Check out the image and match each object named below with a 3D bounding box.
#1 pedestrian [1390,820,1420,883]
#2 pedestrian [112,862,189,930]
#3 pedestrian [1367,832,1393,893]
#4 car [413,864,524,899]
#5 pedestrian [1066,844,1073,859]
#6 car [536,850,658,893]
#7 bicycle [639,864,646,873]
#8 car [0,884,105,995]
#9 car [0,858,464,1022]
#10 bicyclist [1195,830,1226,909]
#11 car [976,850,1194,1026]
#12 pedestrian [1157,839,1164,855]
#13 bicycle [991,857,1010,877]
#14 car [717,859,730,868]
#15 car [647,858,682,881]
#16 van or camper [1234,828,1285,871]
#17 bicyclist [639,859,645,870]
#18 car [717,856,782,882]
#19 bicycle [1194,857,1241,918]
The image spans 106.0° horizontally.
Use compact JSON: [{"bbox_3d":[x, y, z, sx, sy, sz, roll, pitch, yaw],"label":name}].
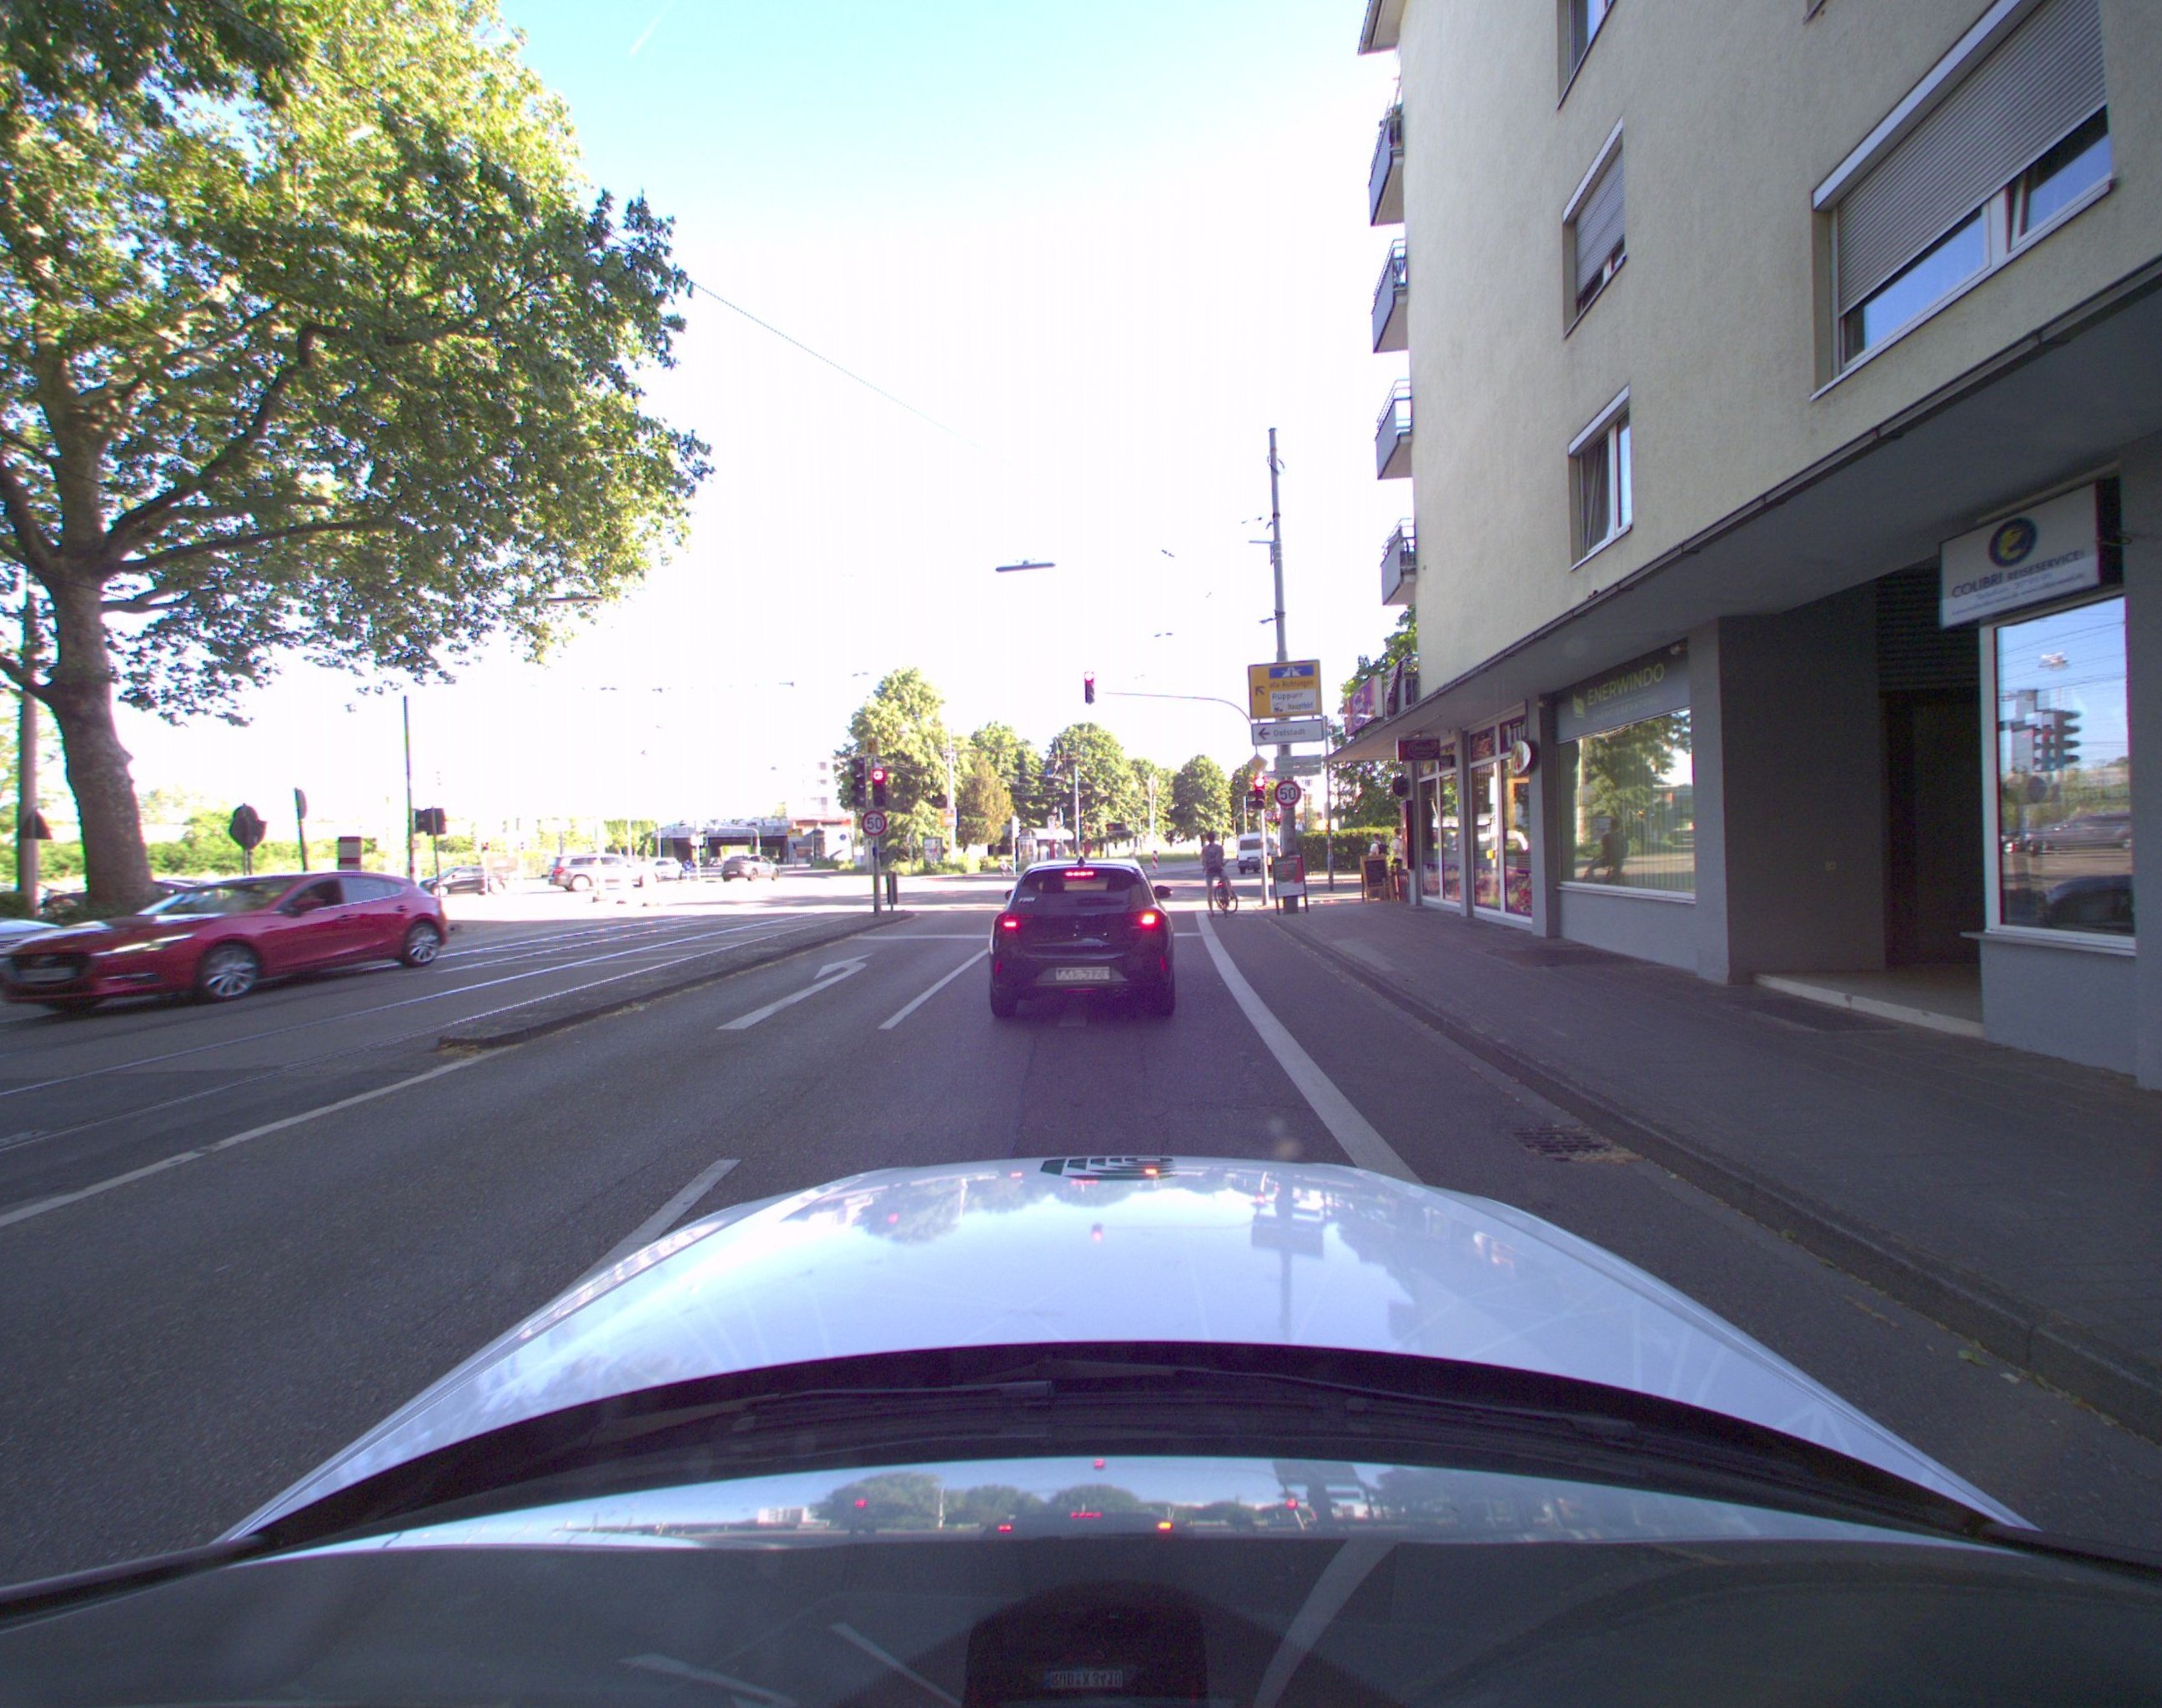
[{"bbox_3d":[9.508,-0.056,23.906,0.737,1.820,0.637,-1,-1,14],"label":"pedestrian"},{"bbox_3d":[-23.139,1.015,20.272,0.842,1.647,0.931,0,-1,1],"label":"pedestrian"},{"bbox_3d":[8.832,0.253,24.071,0.628,1.763,0.584,-1,-1,14],"label":"pedestrian"},{"bbox_3d":[-31.686,1.388,42.260,1.688,1.555,4.289,-2,0,38],"label":"car"},{"bbox_3d":[-1.347,-0.294,96.596,0.736,1.872,0.661,0,-1,-4],"label":"pedestrian"},{"bbox_3d":[-24.067,0.827,40.640,4.874,1.881,1.891,-2,0,-45],"label":"car"},{"bbox_3d":[-49.886,1.610,92.632,0.528,0.982,1.565,-1,0,-23],"label":"bicycle"},{"bbox_3d":[-16.624,1.196,11.344,3.957,1.453,1.670,-1,0,-1],"label":"car"},{"bbox_3d":[-10.547,0.874,10.375,2.011,1.565,4.488,-1,0,-2],"label":"car"},{"bbox_3d":[2.817,0.333,17.725,0.529,1.692,0.571,-2,0,19],"label":"bicyclist"},{"bbox_3d":[0.098,0.703,8.932,1.833,1.462,3.985,-1,0,2],"label":"car"},{"bbox_3d":[9.735,-0.855,99.345,0.609,1.872,0.513,0,-1,-41],"label":"pedestrian"},{"bbox_3d":[-4.607,0.745,46.691,0.793,1.064,2.186,-2,0,2],"label":"bicycle"},{"bbox_3d":[-53.352,1.358,121.451,1.587,1.260,3.397,-2,0,-28],"label":"car"},{"bbox_3d":[-30.047,1.095,58.820,1.892,1.585,3.809,0,-1,-21],"label":"car"},{"bbox_3d":[10.174,-0.221,46.161,2.011,2.310,4.565,-1,-1,23],"label":"van or camper"},{"bbox_3d":[-49.875,1.209,92.569,0.528,1.222,0.525,-1,0,-24],"label":"bicyclist"},{"bbox_3d":[-20.187,0.882,49.809,1.787,1.519,4.215,0,-1,8],"label":"car"},{"bbox_3d":[3.052,0.715,18.034,0.747,1.235,2.024,-2,0,16],"label":"bicycle"}]
